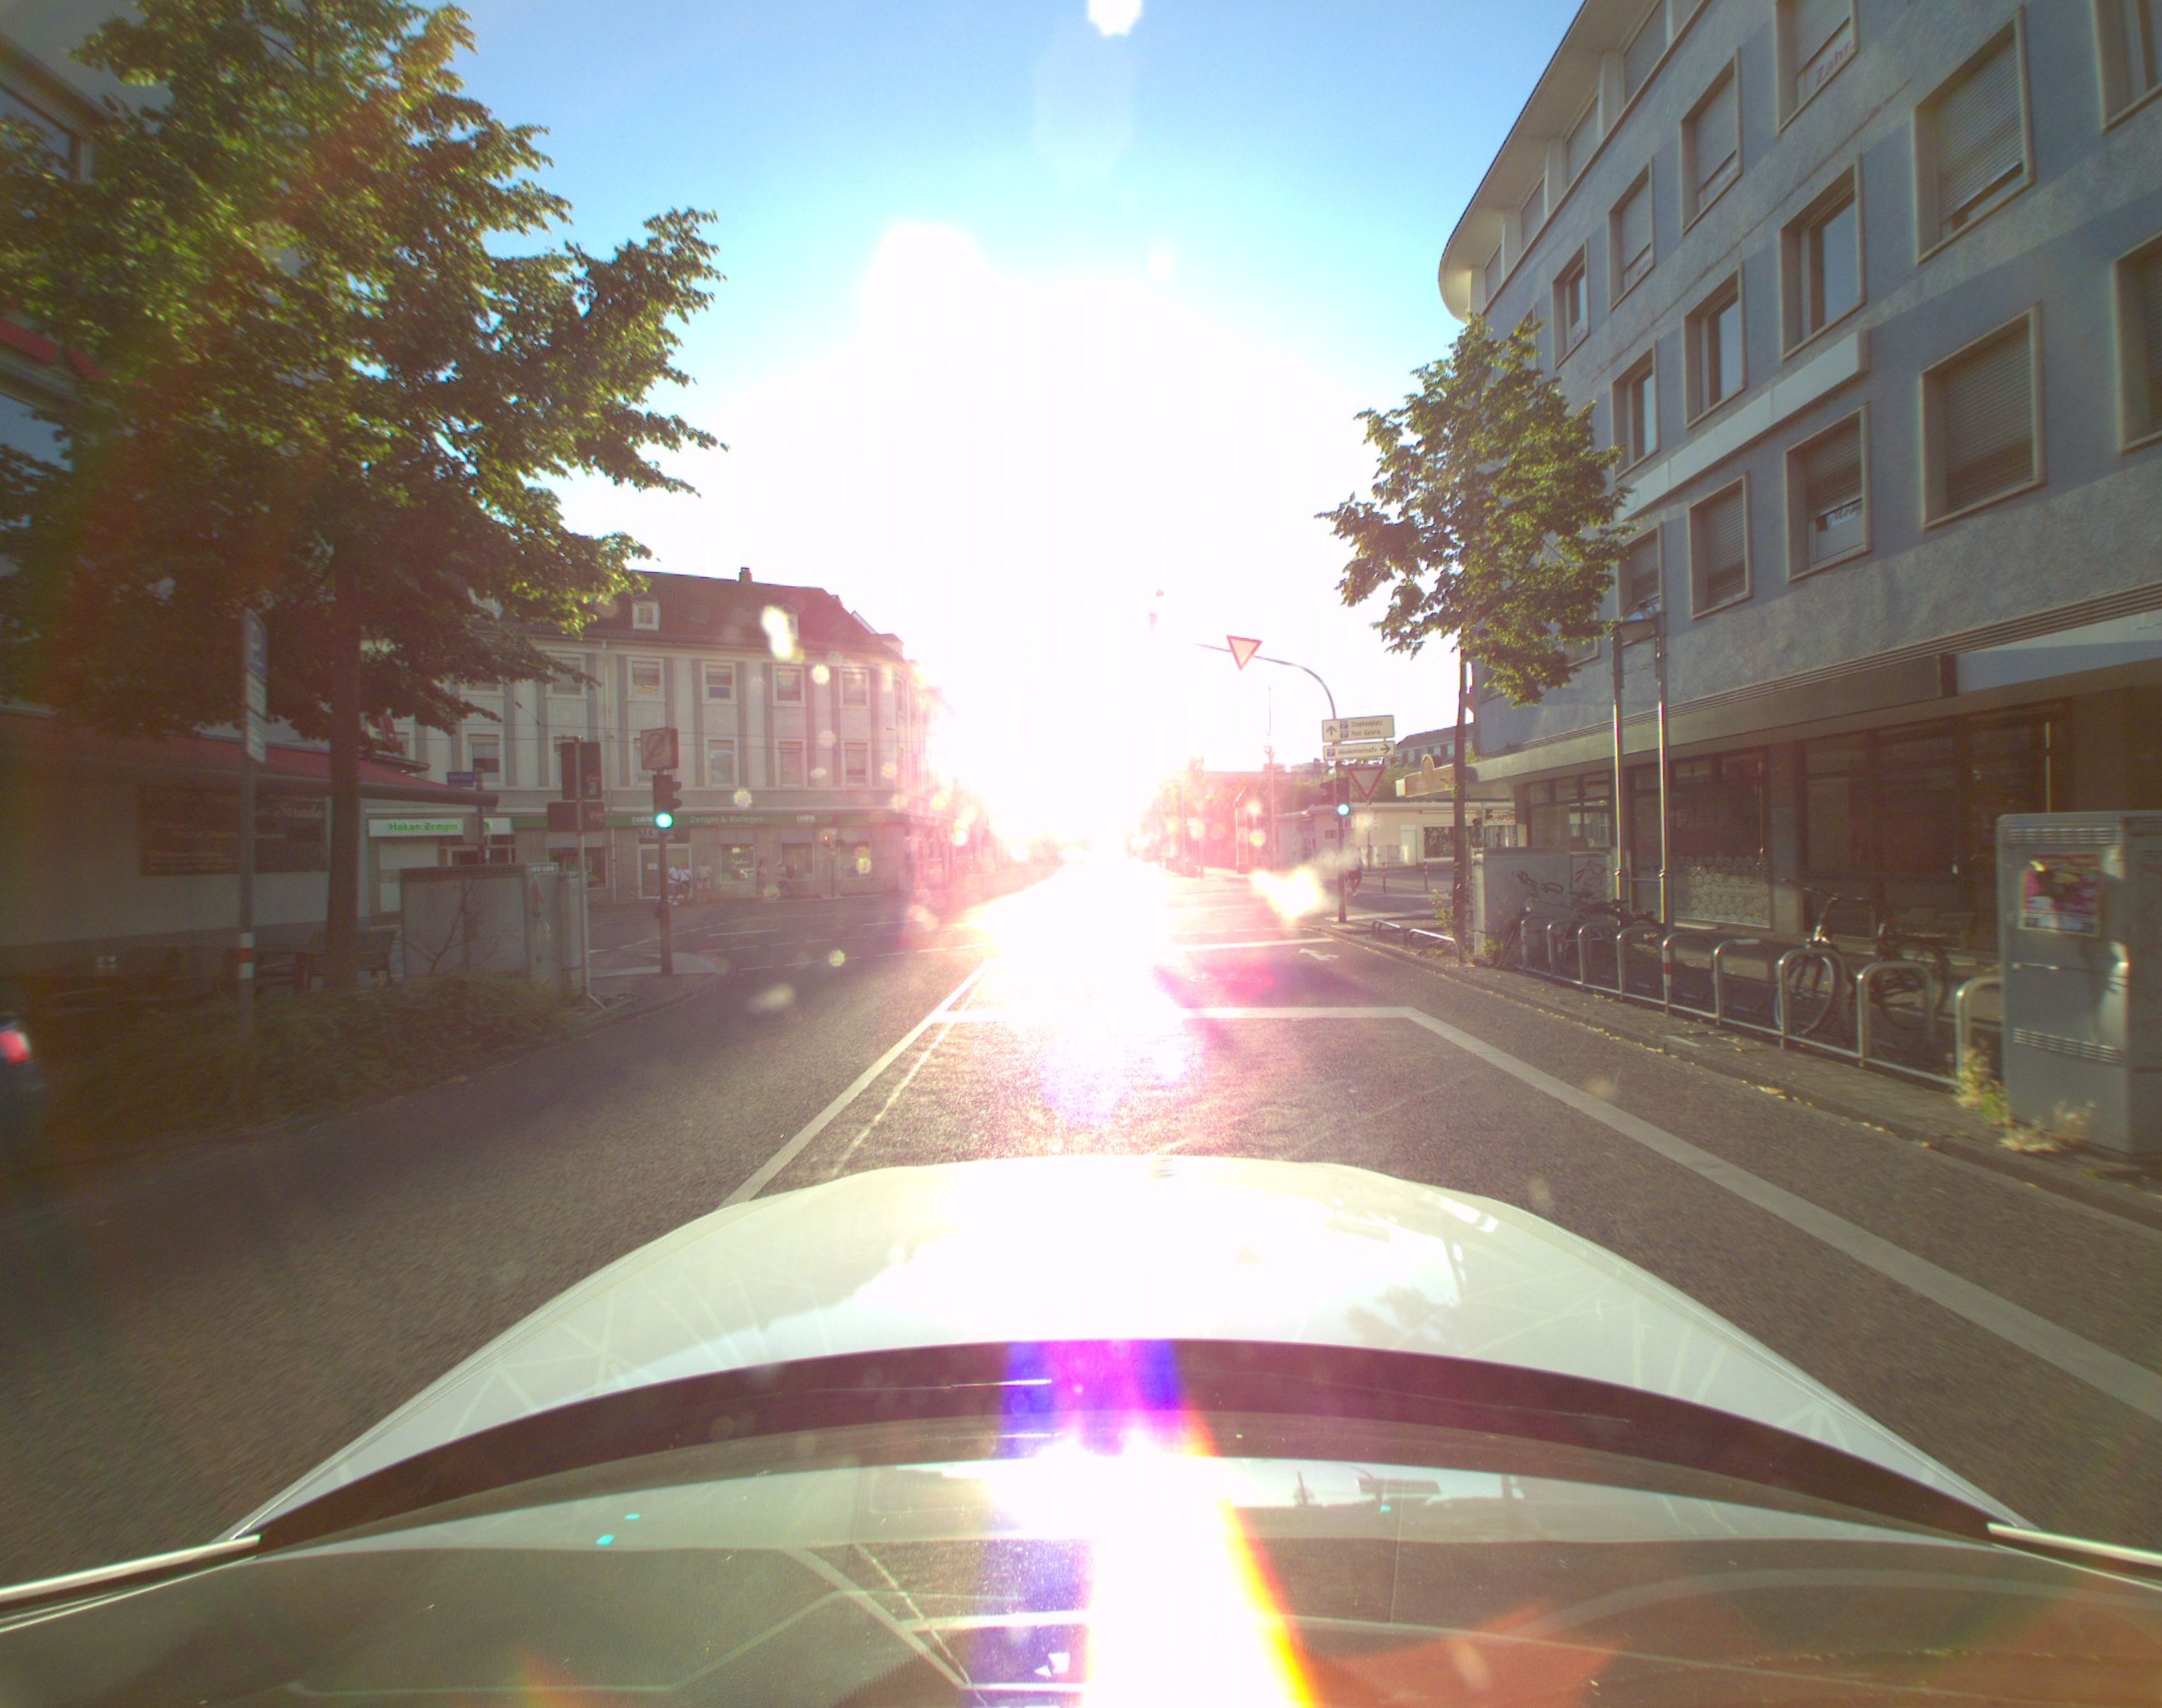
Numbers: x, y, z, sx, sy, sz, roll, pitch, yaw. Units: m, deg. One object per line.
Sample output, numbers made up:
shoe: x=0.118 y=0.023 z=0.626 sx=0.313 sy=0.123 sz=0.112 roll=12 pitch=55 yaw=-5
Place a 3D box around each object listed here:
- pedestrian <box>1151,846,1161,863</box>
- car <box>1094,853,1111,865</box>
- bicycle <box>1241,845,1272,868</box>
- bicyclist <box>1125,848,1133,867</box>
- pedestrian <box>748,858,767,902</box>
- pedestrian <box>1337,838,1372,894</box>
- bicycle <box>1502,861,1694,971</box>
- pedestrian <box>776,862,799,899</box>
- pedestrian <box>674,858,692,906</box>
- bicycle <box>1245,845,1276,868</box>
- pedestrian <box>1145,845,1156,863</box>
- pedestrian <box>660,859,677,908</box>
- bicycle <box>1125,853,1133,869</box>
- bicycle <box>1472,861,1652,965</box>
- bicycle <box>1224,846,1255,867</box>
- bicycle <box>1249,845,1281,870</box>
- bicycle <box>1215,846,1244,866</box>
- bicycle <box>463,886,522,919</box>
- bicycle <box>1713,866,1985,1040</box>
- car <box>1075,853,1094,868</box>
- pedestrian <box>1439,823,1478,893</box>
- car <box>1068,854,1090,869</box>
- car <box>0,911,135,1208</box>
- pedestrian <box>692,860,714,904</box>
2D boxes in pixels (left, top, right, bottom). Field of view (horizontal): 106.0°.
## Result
pedestrian: x=8.221 y=0.030 z=89.502 sx=0.798 sy=1.786 sz=0.998 roll=-4 pitch=-1 yaw=16
car: x=3.081 y=0.678 z=115.170 sx=2.295 sy=1.678 sz=5.535 roll=-2 pitch=0 yaw=2
bicycle: x=12.160 y=0.167 z=56.405 sx=1.977 sy=1.522 sz=0.479 roll=-2 pitch=0 yaw=2
bicyclist: x=4.442 y=0.286 z=75.282 sx=0.676 sy=1.707 sz=0.670 roll=-2 pitch=0 yaw=3
pedestrian: x=-13.533 y=1.085 z=34.086 sx=0.648 sy=1.778 sz=0.667 roll=-2 pitch=0 yaw=-20
pedestrian: x=8.734 y=0.376 z=26.010 sx=0.796 sy=1.726 sz=1.000 roll=-4 pitch=-1 yaw=29
bicycle: x=6.070 y=0.722 z=9.608 sx=1.904 sy=1.203 sz=0.470 roll=-2 pitch=0 yaw=3
pedestrian: x=-12.879 y=1.146 z=35.731 sx=0.870 sy=1.548 sz=0.694 roll=-2 pitch=0 yaw=-21
pedestrian: x=-16.260 y=1.122 z=33.293 sx=0.532 sy=1.928 sz=0.633 roll=-2 pitch=0 yaw=-34
bicycle: x=12.216 y=0.180 z=55.366 sx=1.977 sy=1.522 sz=0.479 roll=-2 pitch=0 yaw=2
pedestrian: x=7.837 y=0.043 z=91.623 sx=0.981 sy=1.957 sz=0.811 roll=-3 pitch=-1 yaw=28
pedestrian: x=-16.675 y=1.178 z=32.921 sx=0.498 sy=1.928 sz=0.570 roll=-2 pitch=0 yaw=-33
bicycle: x=4.466 y=0.621 z=75.321 sx=0.676 sy=1.402 sz=2.232 roll=-2 pitch=0 yaw=3
bicycle: x=5.937 y=0.716 z=10.105 sx=1.904 sy=1.203 sz=0.470 roll=-2 pitch=0 yaw=3
bicycle: x=12.172 y=0.205 z=62.471 sx=2.213 sy=1.522 sz=0.681 roll=-2 pitch=0 yaw=2
bicycle: x=11.967 y=0.219 z=52.956 sx=1.978 sy=1.522 sz=0.479 roll=-2 pitch=0 yaw=1
bicycle: x=11.930 y=0.165 z=65.623 sx=2.211 sy=1.522 sz=0.682 roll=-2 pitch=0 yaw=6
bicycle: x=-21.604 y=1.764 z=29.930 sx=1.651 sy=1.089 sz=0.475 roll=-3 pitch=2 yaw=-26
bicycle: x=5.978 y=0.730 z=6.355 sx=1.912 sy=1.203 sz=0.468 roll=-2 pitch=0 yaw=-10
car: x=0.488 y=0.789 z=103.654 sx=2.295 sy=1.678 sz=5.535 roll=-2 pitch=0 yaw=2
pedestrian: x=10.485 y=0.111 z=22.618 sx=0.796 sy=1.886 sz=1.000 roll=-4 pitch=-1 yaw=29
car: x=-0.220 y=0.862 z=96.072 sx=2.295 sy=1.678 sz=5.535 roll=-2 pitch=0 yaw=2
car: x=-6.201 y=1.061 z=2.266 sx=1.908 sy=1.386 sz=4.383 roll=-3 pitch=0 yaw=1
pedestrian: x=-15.424 y=1.134 z=33.266 sx=0.699 sy=1.745 sz=0.635 roll=-2 pitch=0 yaw=-20
